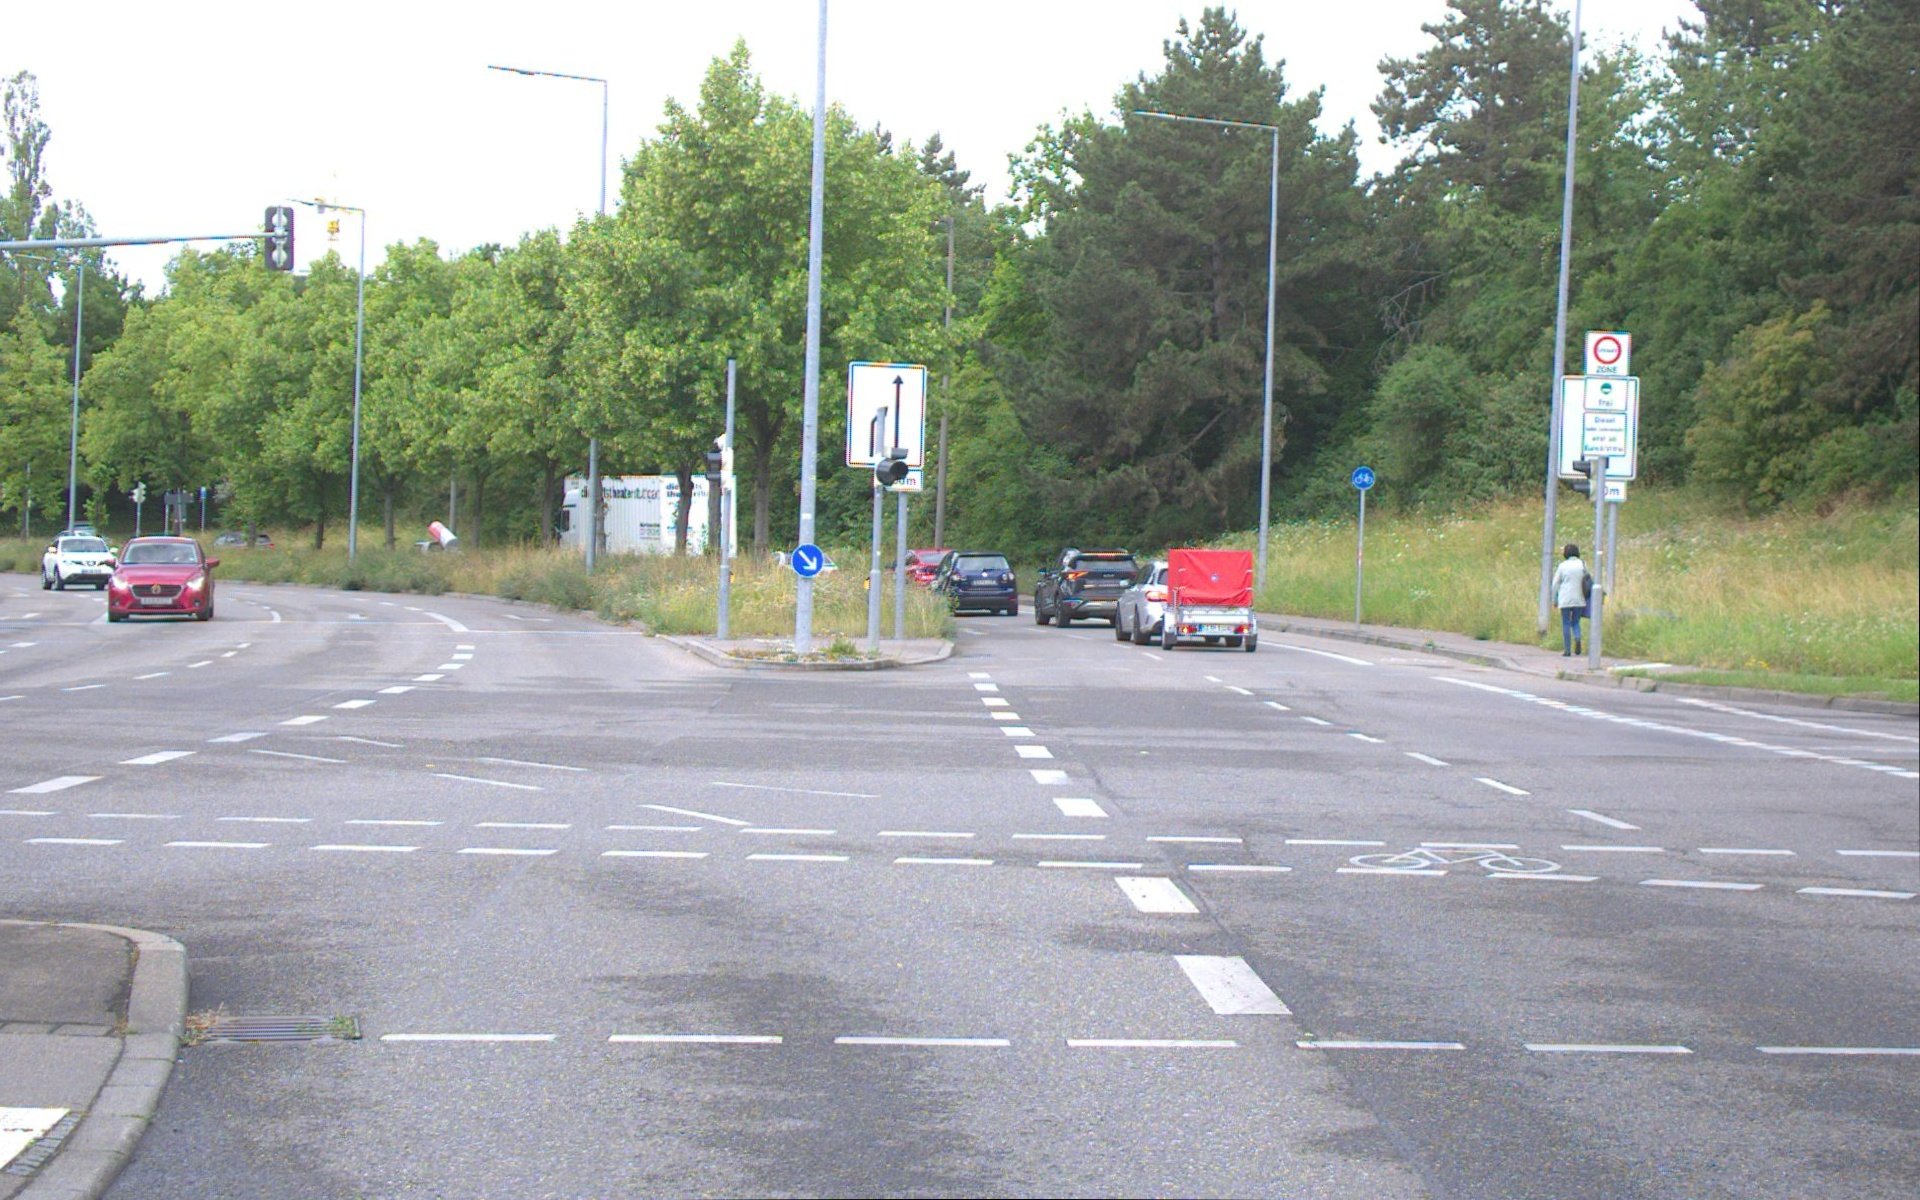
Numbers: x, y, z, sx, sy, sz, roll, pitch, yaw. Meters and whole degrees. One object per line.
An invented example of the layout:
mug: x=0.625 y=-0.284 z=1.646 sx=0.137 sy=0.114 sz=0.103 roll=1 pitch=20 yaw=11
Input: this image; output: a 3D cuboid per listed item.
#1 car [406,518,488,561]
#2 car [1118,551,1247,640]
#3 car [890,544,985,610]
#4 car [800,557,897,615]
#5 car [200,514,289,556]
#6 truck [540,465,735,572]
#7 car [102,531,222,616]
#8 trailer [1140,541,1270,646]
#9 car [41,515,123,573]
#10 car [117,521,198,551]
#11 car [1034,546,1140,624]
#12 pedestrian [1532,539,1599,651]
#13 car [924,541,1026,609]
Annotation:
car: x=-18.958 y=-2.248 z=126.957 sx=1.778 sy=1.541 sz=4.025 roll=0 pitch=1 yaw=-27
car: x=3.798 y=-0.107 z=59.222 sx=1.778 sy=1.416 sz=4.459 roll=1 pitch=1 yaw=-2
car: x=-0.596 y=-0.617 z=88.638 sx=1.777 sy=1.541 sz=4.026 roll=-1 pitch=2 yaw=-10
car: x=-3.168 y=-0.411 z=96.728 sx=1.777 sy=1.541 sz=4.026 roll=0 pitch=1 yaw=-16
car: x=-29.246 y=-2.659 z=140.509 sx=1.994 sy=1.678 sz=3.999 roll=0 pitch=1 yaw=-38
truck: x=-10.695 y=-2.679 z=112.619 sx=2.739 sy=3.317 sz=11.410 roll=0 pitch=1 yaw=-24
car: x=-14.033 y=-0.490 z=60.628 sx=1.780 sy=1.438 sz=4.427 roll=0 pitch=1 yaw=-10
trailer: x=3.926 y=-0.130 z=55.480 sx=1.764 sy=1.610 sz=3.044 roll=1 pitch=1 yaw=-2
car: x=-25.369 y=-1.616 z=99.256 sx=1.828 sy=1.623 sz=4.427 roll=0 pitch=1 yaw=-20
car: x=-41.385 y=-3.290 z=177.319 sx=1.781 sy=1.541 sz=4.018 roll=1 pitch=1 yaw=30
car: x=2.632 y=-0.334 z=71.907 sx=1.778 sy=1.541 sz=4.025 roll=1 pitch=1 yaw=-4
pedestrian: x=8.925 y=-0.085 z=50.689 sx=0.814 sy=1.622 sz=0.791 roll=1 pitch=1 yaw=-1
car: x=0.332 y=-0.625 z=82.416 sx=1.777 sy=1.541 sz=4.026 roll=1 pitch=1 yaw=-9
